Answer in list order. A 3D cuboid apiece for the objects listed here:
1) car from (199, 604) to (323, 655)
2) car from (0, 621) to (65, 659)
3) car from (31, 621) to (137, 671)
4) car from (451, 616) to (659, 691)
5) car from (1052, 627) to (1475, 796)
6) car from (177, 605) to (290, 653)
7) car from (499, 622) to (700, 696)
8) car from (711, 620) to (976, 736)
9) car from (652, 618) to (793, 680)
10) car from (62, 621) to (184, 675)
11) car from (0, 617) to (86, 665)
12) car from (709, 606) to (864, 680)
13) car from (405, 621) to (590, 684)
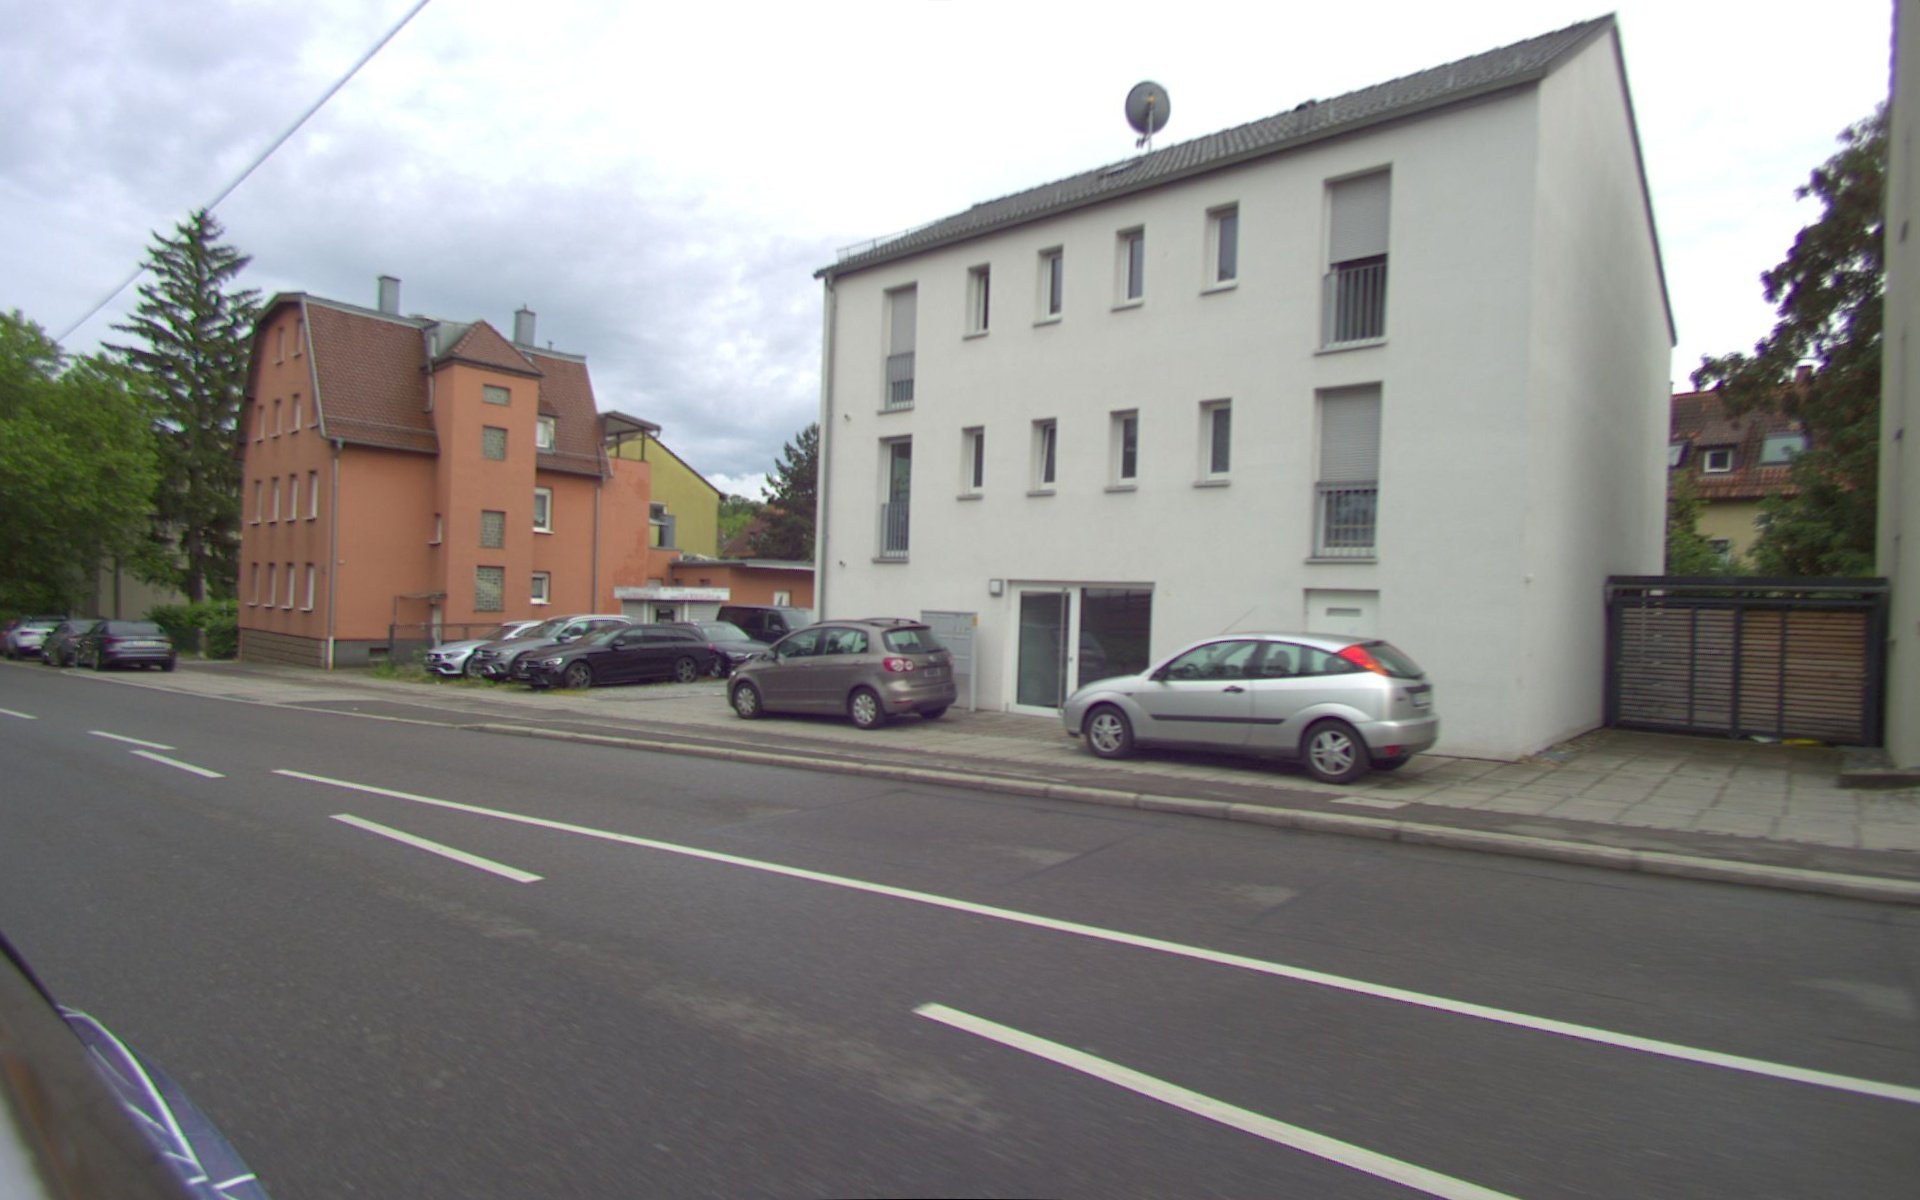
[{"bbox_3d":[-29.573,1.203,42.913,1.998,2.029,3.947,-1,0,39],"label":"car"},{"bbox_3d":[-36.614,1.534,39.616,4.196,1.444,1.793,-1,-2,41],"label":"car"},{"bbox_3d":[-27.565,1.401,31.794,4.194,1.463,1.794,-1,-2,39],"label":"car"},{"bbox_3d":[-10.317,1.292,26.044,2.153,1.620,4.482,-1,0,43],"label":"car"},{"bbox_3d":[3.219,1.068,11.233,4.175,1.519,1.727,-1,-2,41],"label":"car"},{"bbox_3d":[-32.476,1.235,45.282,3.938,2.029,2.003,0,-1,-42],"label":"car"},{"bbox_3d":[-8.463,1.325,24.011,1.895,1.475,4.082,-1,0,42],"label":"car"},{"bbox_3d":[-1.914,1.131,15.982,4.076,1.564,1.729,-1,0,37],"label":"car"},{"bbox_3d":[-6.548,1.304,27.757,3.998,1.574,1.763,-1,-3,41],"label":"car"},{"bbox_3d":[-23.830,1.340,28.757,4.193,1.421,1.767,-1,-4,38],"label":"car"},{"bbox_3d":[-32.540,1.437,35.779,4.196,1.558,1.793,-1,-5,41],"label":"car"},{"bbox_3d":[-5.211,1.247,30.079,4.762,2.029,1.973,-1,-3,41],"label":"car"},{"bbox_3d":[-12.444,1.349,27.403,2.000,1.444,4.117,-1,0,43],"label":"car"}]
